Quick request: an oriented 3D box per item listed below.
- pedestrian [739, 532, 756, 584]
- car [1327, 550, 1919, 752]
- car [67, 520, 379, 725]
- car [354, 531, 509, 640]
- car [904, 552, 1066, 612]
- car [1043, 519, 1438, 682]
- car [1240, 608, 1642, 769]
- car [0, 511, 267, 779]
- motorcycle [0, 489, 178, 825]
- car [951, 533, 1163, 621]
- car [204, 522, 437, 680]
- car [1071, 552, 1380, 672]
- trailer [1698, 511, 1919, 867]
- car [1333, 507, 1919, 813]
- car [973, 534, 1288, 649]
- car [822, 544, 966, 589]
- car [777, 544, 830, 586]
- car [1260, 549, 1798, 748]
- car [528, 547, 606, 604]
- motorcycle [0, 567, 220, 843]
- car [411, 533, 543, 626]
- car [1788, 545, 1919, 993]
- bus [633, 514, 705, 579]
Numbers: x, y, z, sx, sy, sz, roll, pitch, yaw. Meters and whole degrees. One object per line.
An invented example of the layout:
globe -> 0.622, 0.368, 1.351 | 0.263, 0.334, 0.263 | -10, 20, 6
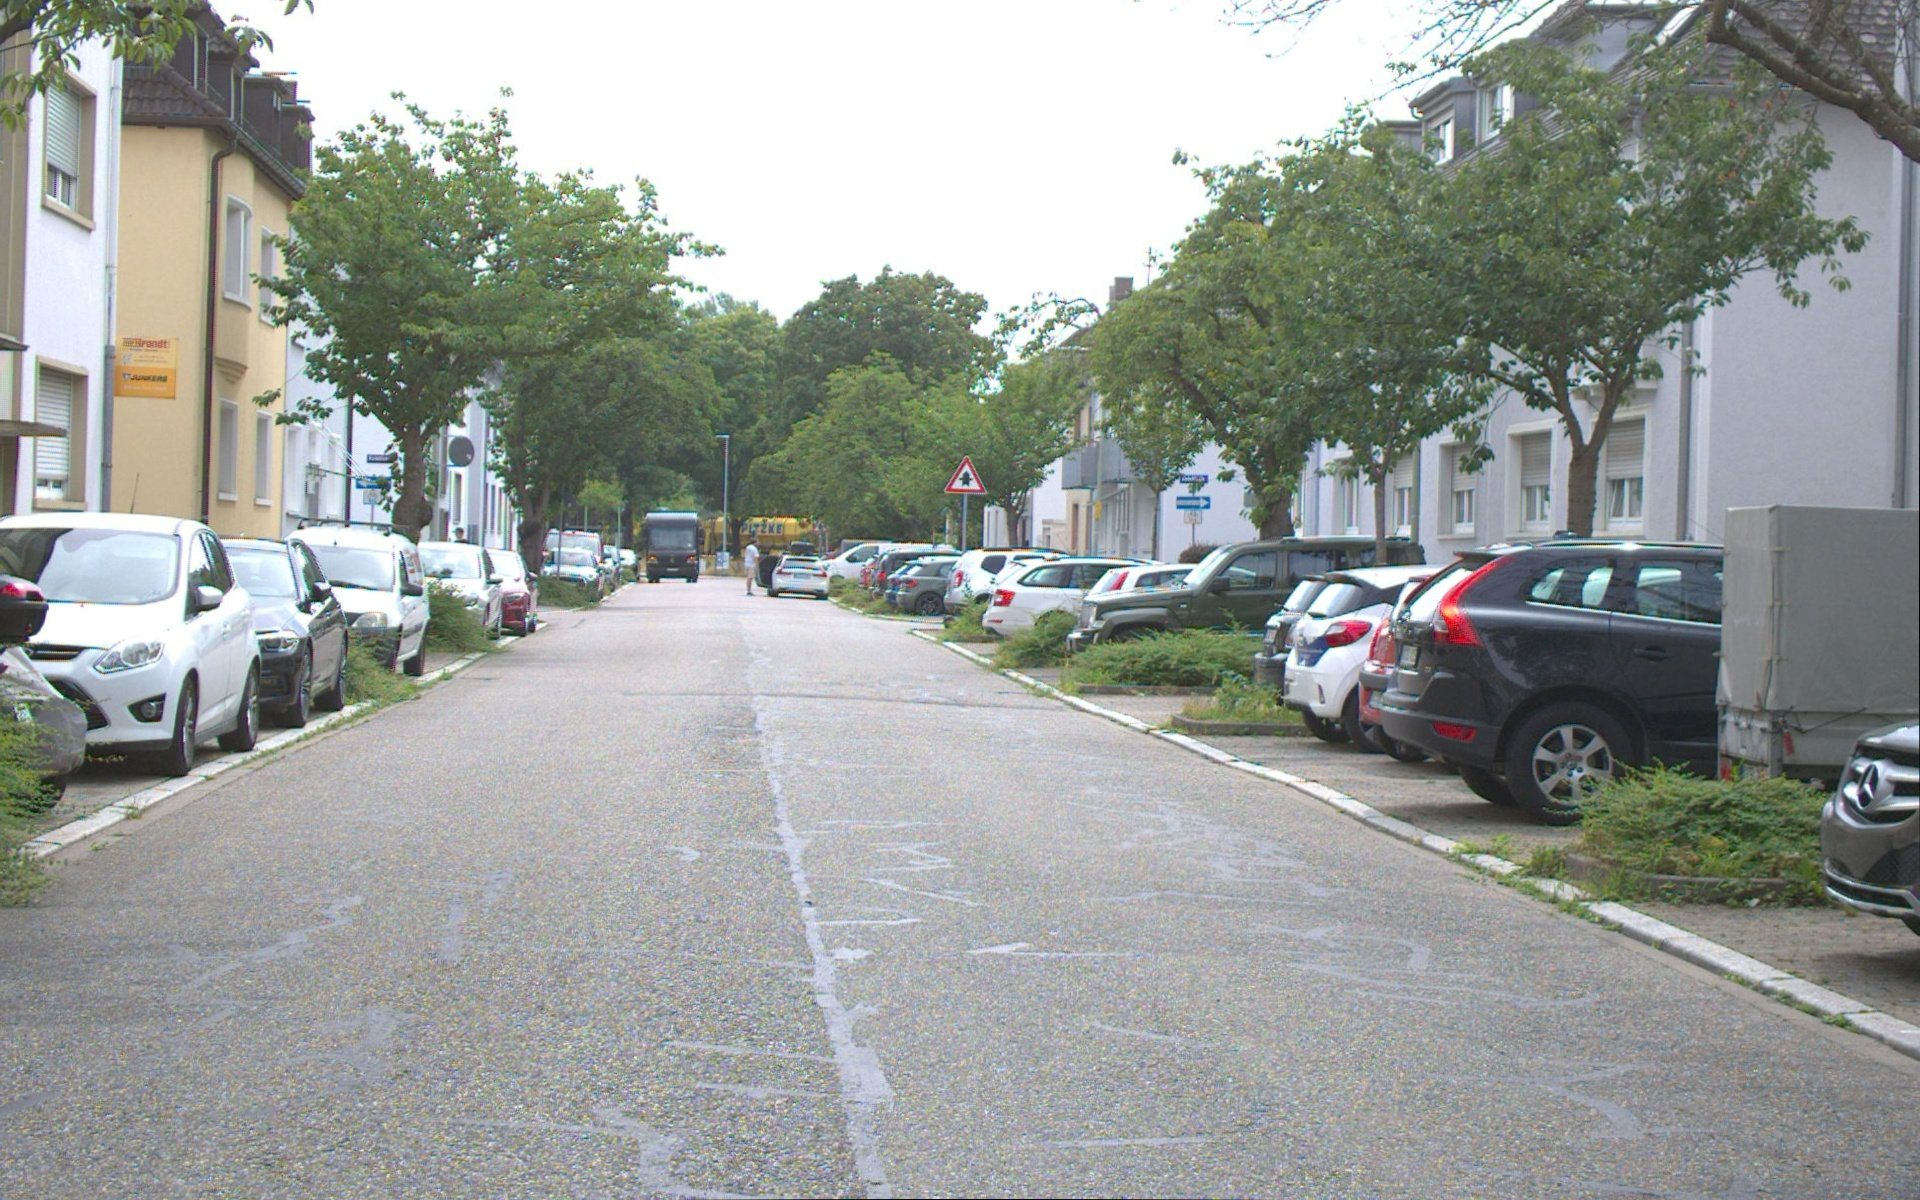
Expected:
pedestrian -> -6.953, -1.380, 112.615 | 0.522, 1.698, 0.444 | -1, 1, 0
car -> 4.903, 0.353, 25.718 | 3.986, 1.405, 1.768 | -1, 1, -7
car -> -5.978, 0.161, 28.416 | 1.790, 1.487, 4.813 | 2, 0, -4
car -> -7.976, -0.233, 52.172 | 1.771, 1.387, 4.275 | 7, 0, -3
car -> 0.577, -0.432, 81.725 | 3.747, 1.361, 1.773 | -1, 1, -3
car -> 3.311, -0.006, 41.111 | 4.525, 1.852, 1.793 | -1, 1, -1
car -> 4.623, 0.835, 33.346 | 3.542, 1.448, 1.809 | -1, 1, -4
car -> -5.629, 0.234, 22.118 | 1.757, 1.551, 4.256 | 1, 1, -4
motorcycle -> -5.288, 0.250, 18.292 | 2.472, 1.670, 0.936 | 2, 1, 43
car -> 1.846, -0.454, 66.279 | 3.923, 1.627, 1.868 | -1, 1, -3
car -> -6.788, -0.016, 36.892 | 1.918, 1.576, 4.383 | -1, 1, -4
car -> 3.356, 0.137, 43.816 | 3.624, 1.449, 1.773 | -1, 1, -8
trailer -> 5.601, 0.440, 18.443 | 2.960, 1.825, 1.401 | -1, 1, 0
car -> 4.489, 0.329, 20.760 | 4.214, 1.730, 1.904 | -1, 1, -2
car -> 2.555, -0.139, 52.276 | 4.614, 1.658, 1.893 | -1, 1, -3
car -> -2.364, -1.191, 121.991 | 4.974, 1.513, 1.769 | -1, 1, -5
car -> -5.177, -1.145, 113.573 | 1.687, 1.349, 3.827 | -1, 1, -3
car -> 4.589, 0.368, 28.039 | 3.986, 1.525, 1.768 | -1, 1, -7
car -> -10.940, -0.693, 95.871 | 1.763, 1.549, 3.731 | -1, 1, -1
motorcycle -> -4.885, 0.505, 16.664 | 2.448, 1.307, 0.643 | -1, 1, -3
car -> -8.045, -0.362, 57.574 | 1.877, 1.481, 4.513 | -1, 1, -4
car -> 5.456, 0.573, 12.787 | 4.214, 1.592, 1.904 | -1, 1, -6
bus -> -12.737, -2.320, 150.877 | 3.003, 2.752, 8.925 | -1, 1, -4
